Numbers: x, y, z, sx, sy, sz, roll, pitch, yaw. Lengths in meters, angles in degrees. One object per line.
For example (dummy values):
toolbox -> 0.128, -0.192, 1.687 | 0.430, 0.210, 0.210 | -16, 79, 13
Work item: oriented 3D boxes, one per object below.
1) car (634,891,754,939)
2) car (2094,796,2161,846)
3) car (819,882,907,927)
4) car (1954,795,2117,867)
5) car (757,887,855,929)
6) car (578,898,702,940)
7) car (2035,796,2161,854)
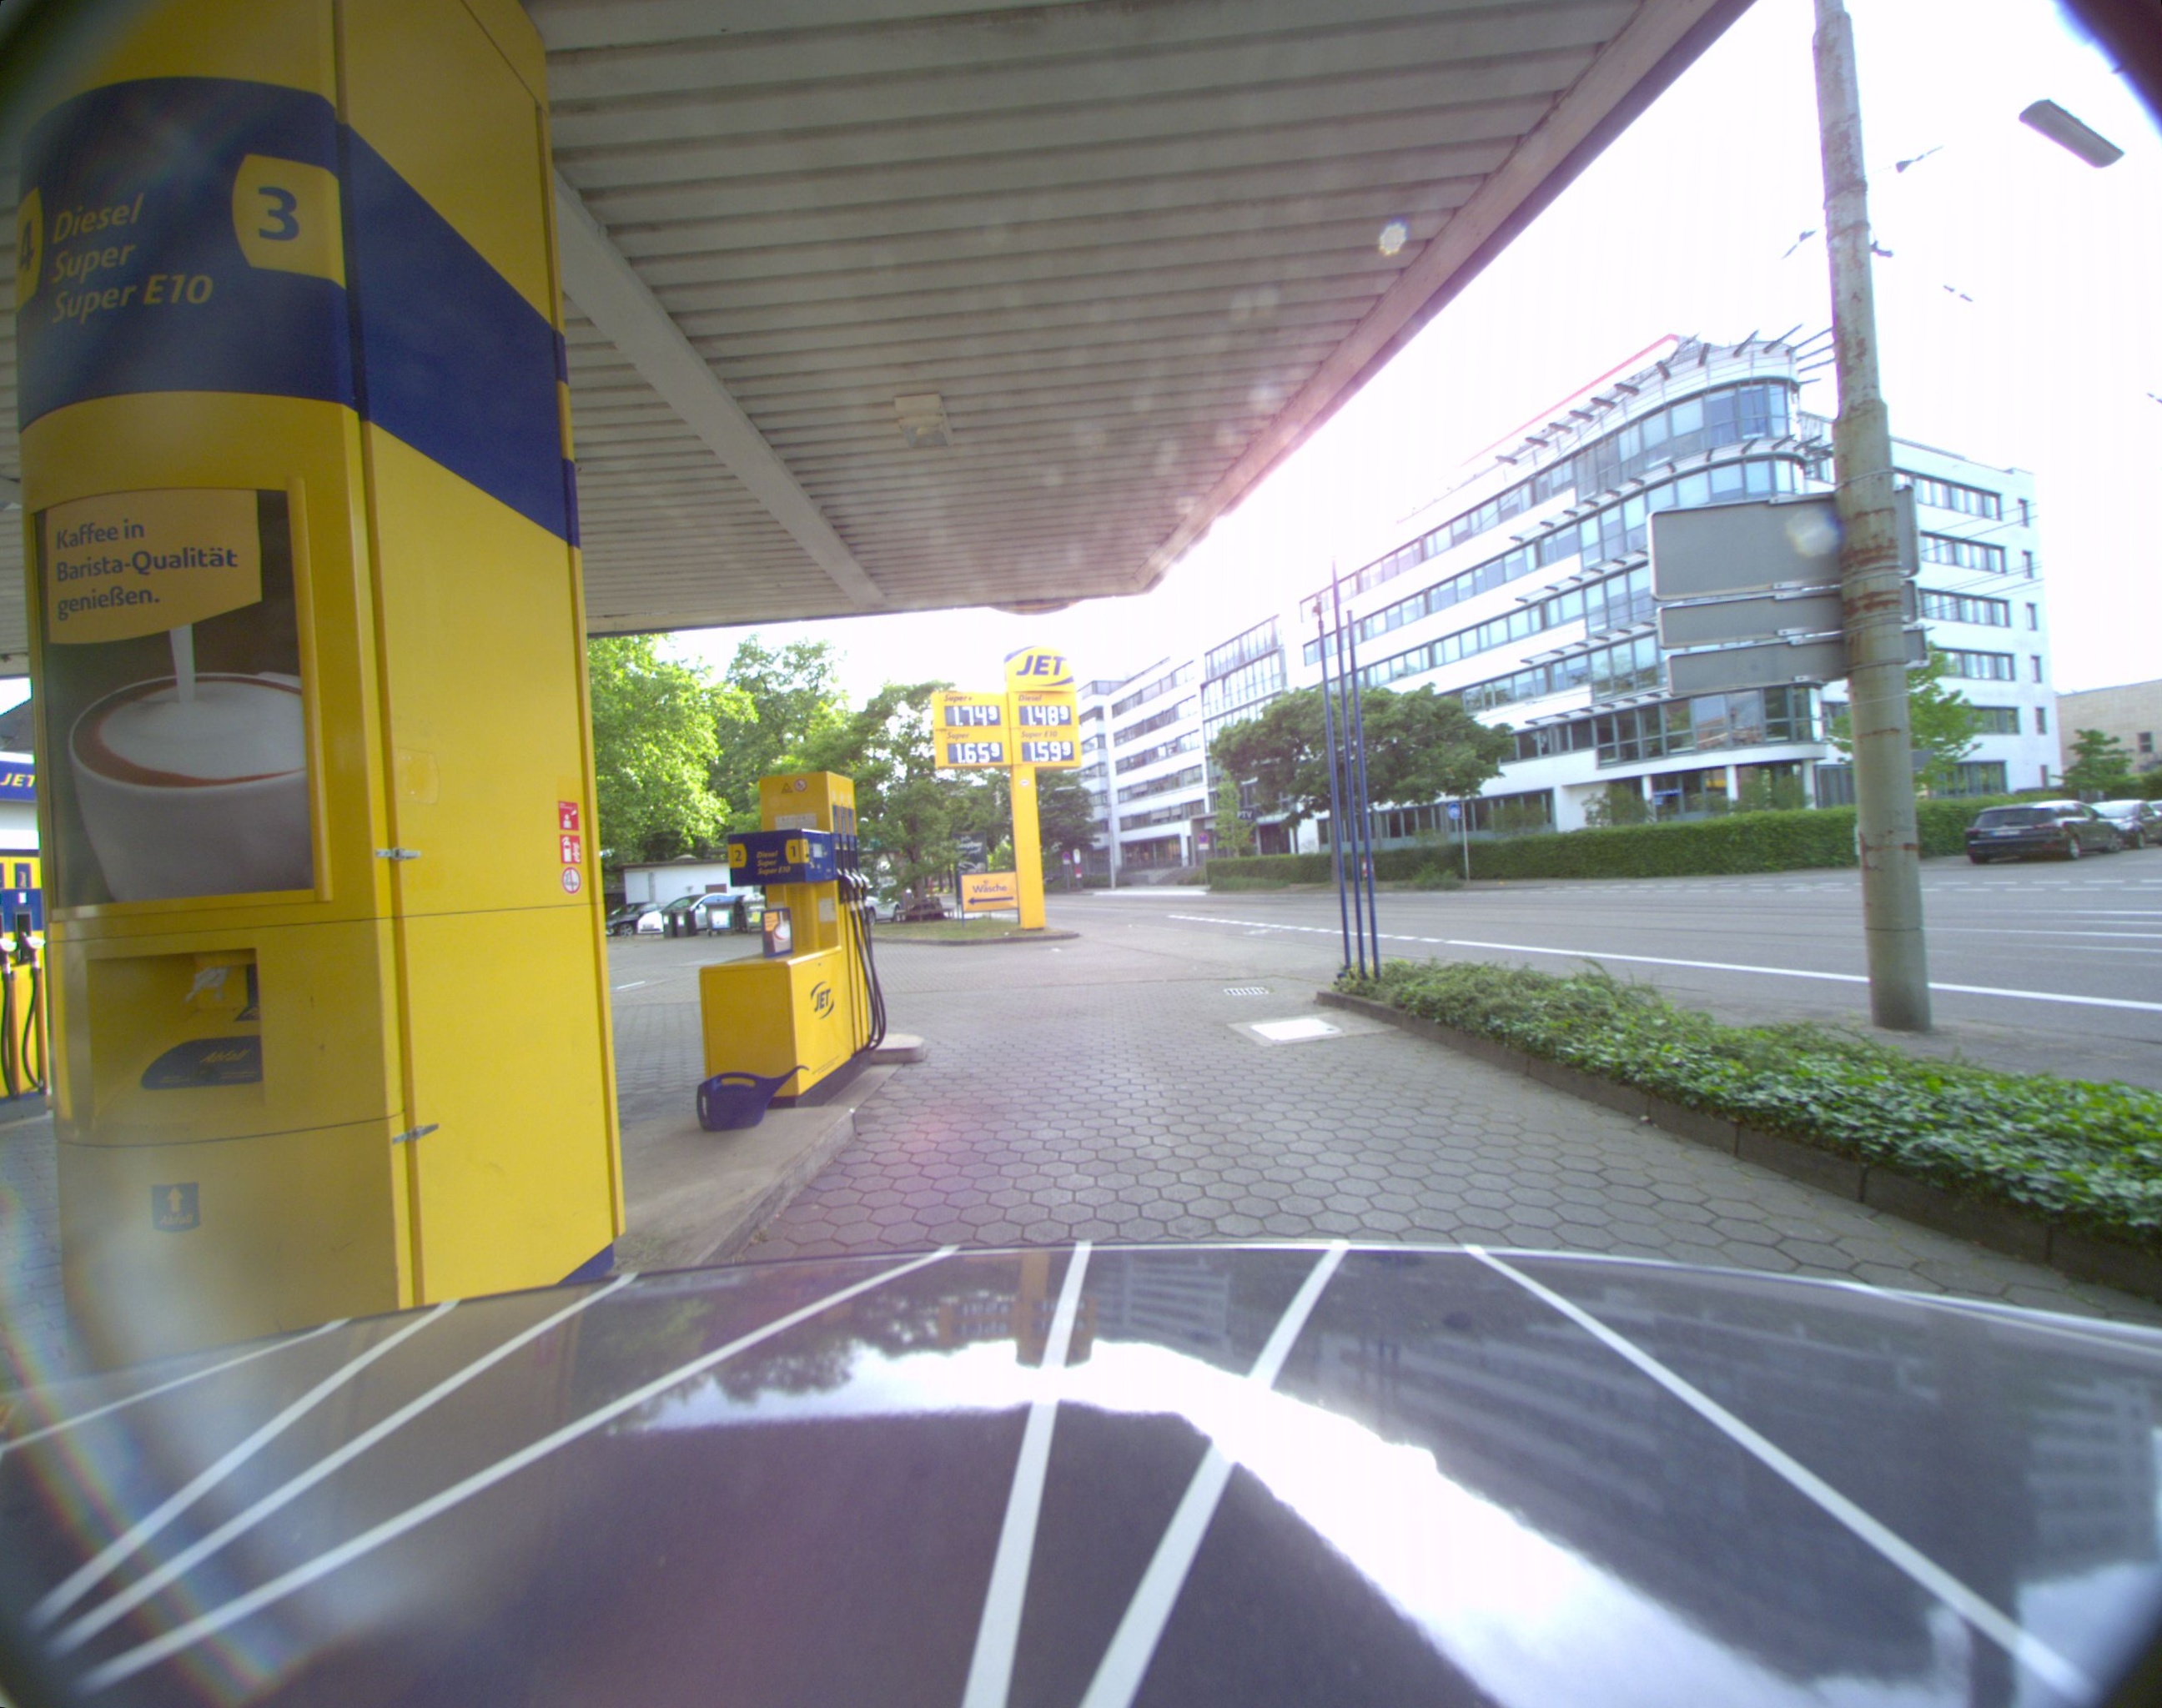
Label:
car -> -15.290, 2.367, 30.325 | 1.771, 1.591, 4.398 | -2, -1, 14
car -> 37.129, -1.203, 26.156 | 4.296, 1.509, 1.945 | -4, -1, -27
car -> -8.634, 2.003, 30.513 | 1.772, 1.591, 4.398 | -4, -4, 6
car -> 27.275, -0.668, 21.701 | 4.296, 1.681, 2.010 | -4, -1, -27
car -> -11.652, 2.269, 32.504 | 1.771, 1.591, 4.400 | -4, -4, 13
car -> -17.792, 2.593, 30.919 | 1.771, 1.367, 4.398 | -2, -1, 14
car -> 32.546, -0.946, 24.103 | 4.296, 1.530, 1.945 | -4, -1, -27
